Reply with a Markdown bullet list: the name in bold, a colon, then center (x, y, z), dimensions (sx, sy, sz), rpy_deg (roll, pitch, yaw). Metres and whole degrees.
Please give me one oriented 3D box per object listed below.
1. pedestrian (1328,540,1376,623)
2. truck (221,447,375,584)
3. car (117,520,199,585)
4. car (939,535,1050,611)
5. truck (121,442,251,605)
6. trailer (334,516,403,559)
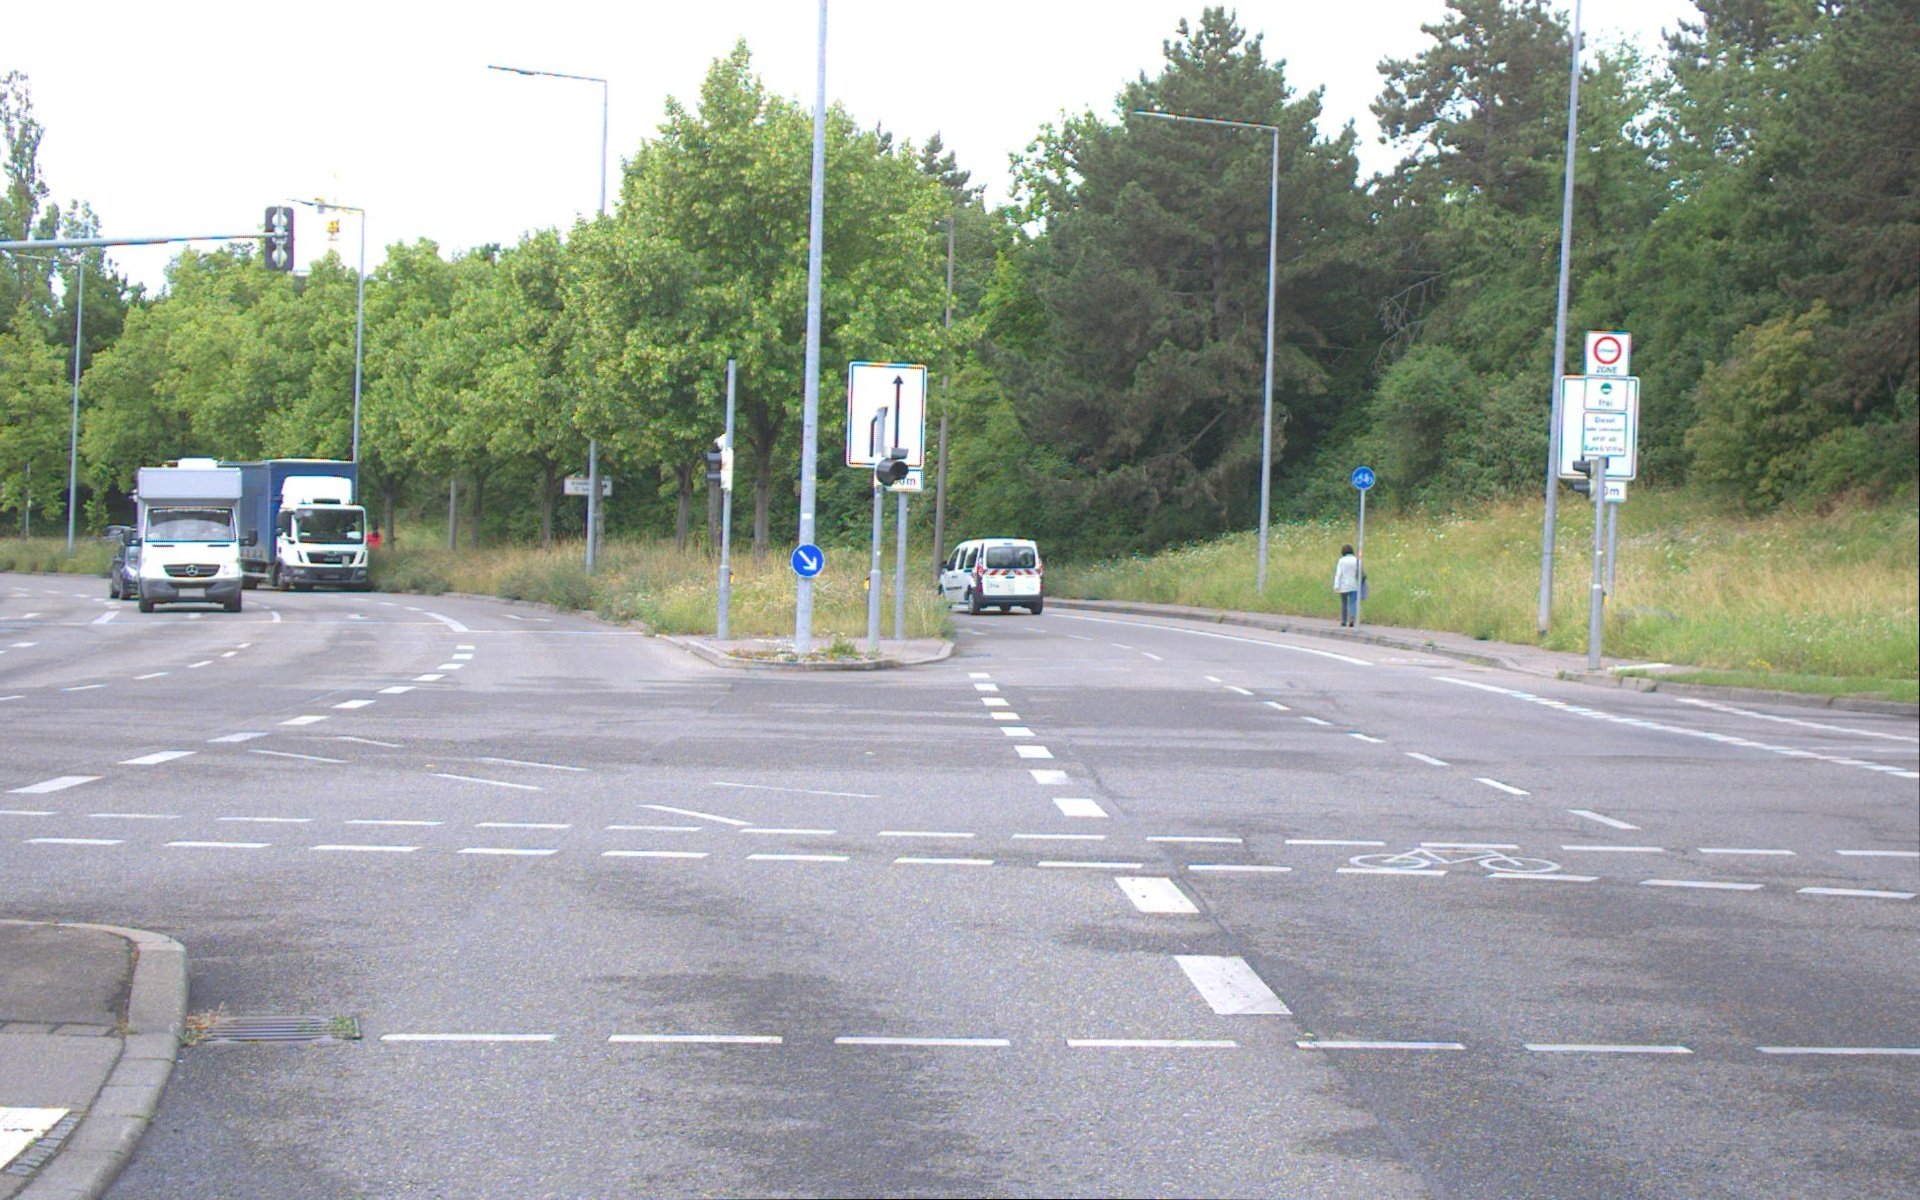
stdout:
- **pedestrian**: center (7.755, -0.375, 68.041), dimensions (0.814, 1.622, 0.791), rpy_deg (1, 1, -1)
- **truck**: center (-19.787, -2.439, 102.137), dimensions (3.048, 3.747, 12.817), rpy_deg (1, 1, -17)
- **car**: center (-19.899, -1.205, 85.410), dimensions (1.780, 1.441, 4.530), rpy_deg (-1, 3, -11)
- **car**: center (0.795, -0.650, 83.713), dimensions (1.994, 1.796, 4.840), rpy_deg (0, 0, -8)
- **truck**: center (-15.676, -1.508, 69.439), dimensions (2.115, 3.124, 5.902), rpy_deg (1, 1, -17)
- **trailer**: center (-23.012, -2.439, 133.705), dimensions (1.764, 1.610, 3.044), rpy_deg (0, 1, -28)
